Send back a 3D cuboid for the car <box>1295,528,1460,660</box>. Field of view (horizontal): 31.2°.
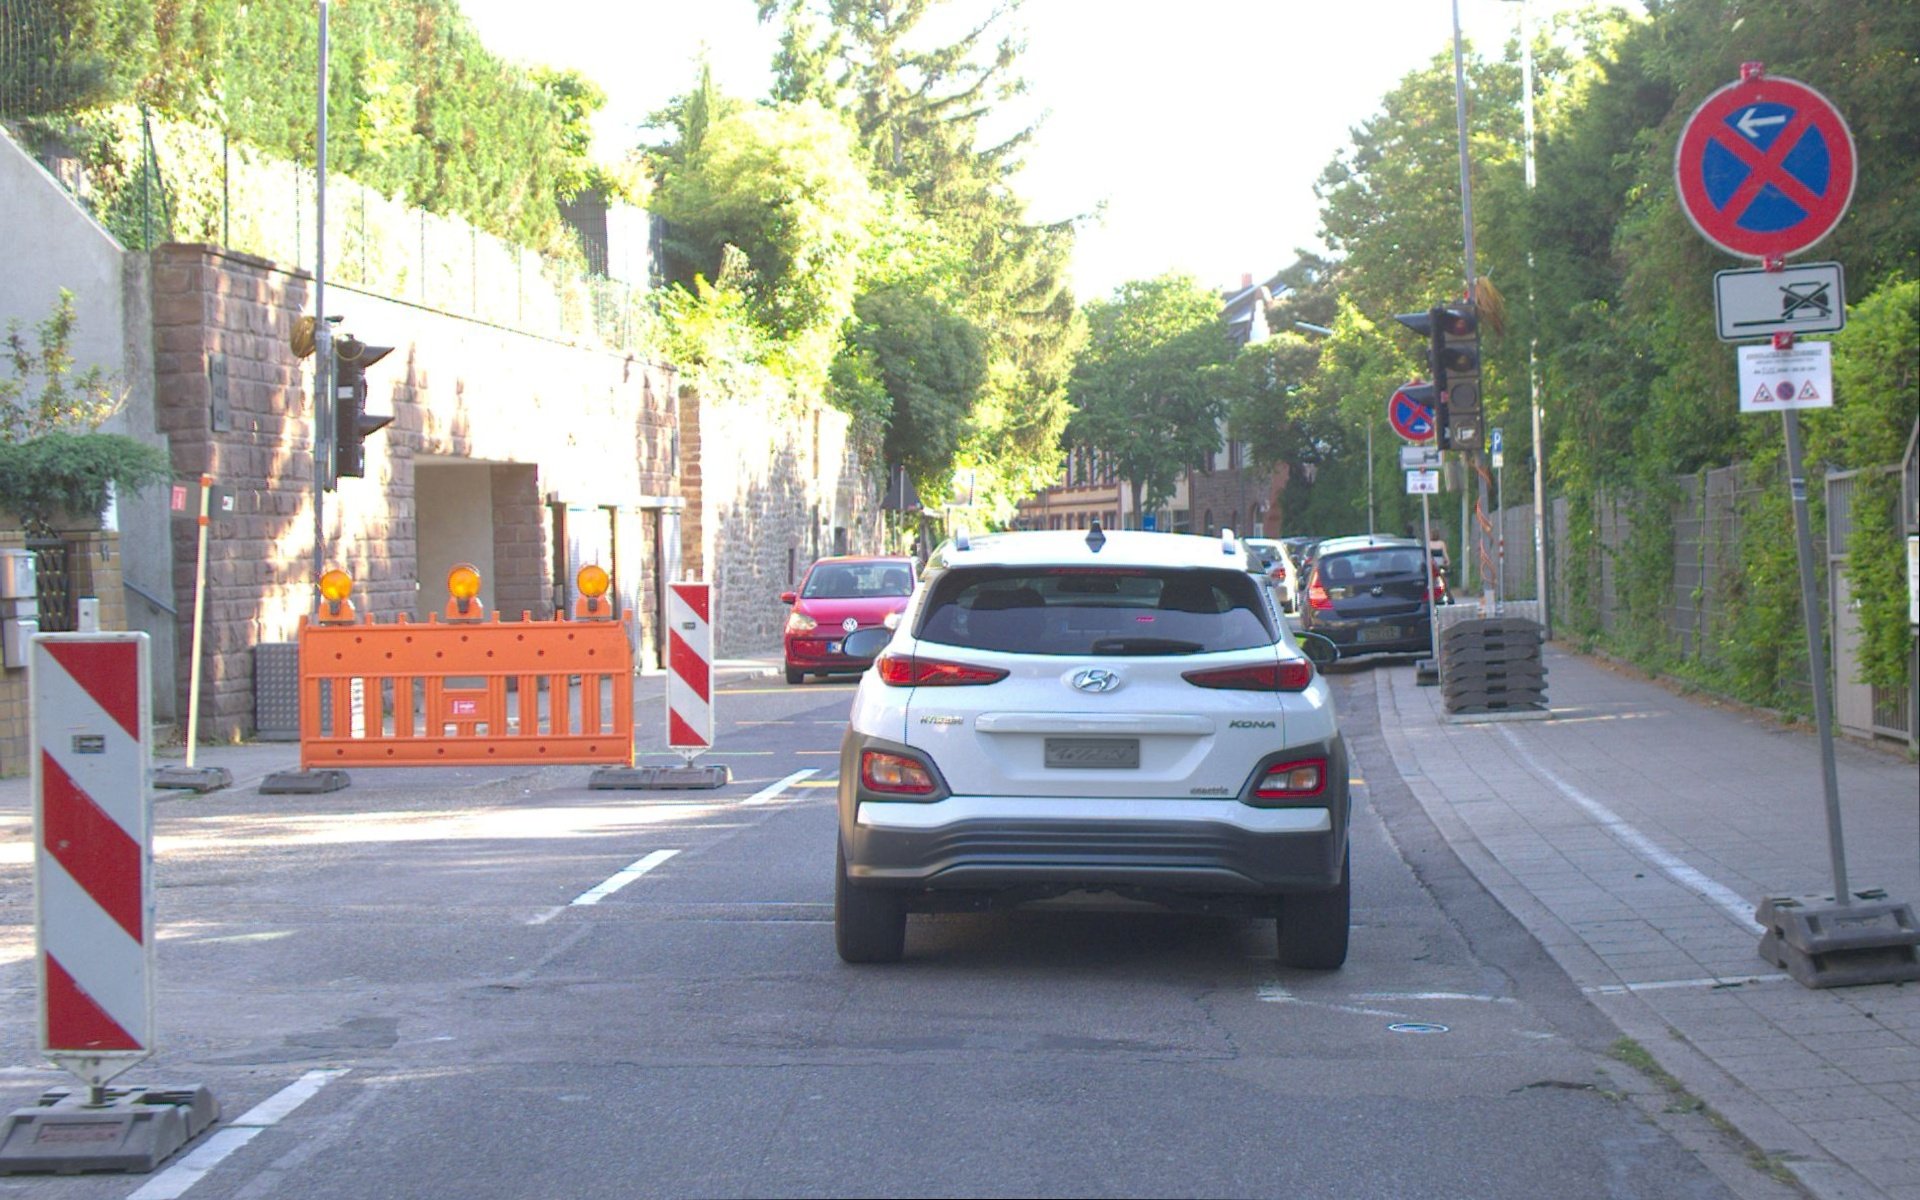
[{"bbox_3d":[4.889,-0.095,40.479,1.794,1.436,3.999,-1,1,6],"label":"car"}]

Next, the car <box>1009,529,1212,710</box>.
[{"bbox_3d":[1.424,0.138,31.409,1.512,1.528,3.547,-1,1,8],"label":"car"}]

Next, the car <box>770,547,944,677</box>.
[{"bbox_3d":[-1.169,0.112,40.445,1.627,1.417,3.562,-2,0,5],"label":"car"}]

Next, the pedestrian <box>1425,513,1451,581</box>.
[{"bbox_3d":[11.242,-1.253,80.855,0.503,1.564,0.503,-3,0,7],"label":"pedestrian"}]

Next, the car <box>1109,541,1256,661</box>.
[{"bbox_3d":[2.892,-0.012,44.178,1.571,1.472,3.546,0,1,9],"label":"car"}]

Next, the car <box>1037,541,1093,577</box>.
[{"bbox_3d":[4.769,-1.885,156.536,1.755,1.611,4.001,0,1,-11],"label":"car"}]

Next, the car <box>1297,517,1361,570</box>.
[{"bbox_3d":[11.268,-1.723,105.115,1.593,1.484,3.602,-4,1,2],"label":"car"}]

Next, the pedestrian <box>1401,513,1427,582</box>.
[{"bbox_3d":[10.682,-1.239,80.923,0.503,1.601,0.491,-3,0,7],"label":"pedestrian"}]

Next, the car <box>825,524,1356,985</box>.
[{"bbox_3d":[0.490,0.483,13.479,1.772,1.537,4.000,0,1,2],"label":"car"}]

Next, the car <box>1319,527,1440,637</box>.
[{"bbox_3d":[6.222,-0.273,50.805,1.653,1.559,2.871,-1,1,9],"label":"car"}]

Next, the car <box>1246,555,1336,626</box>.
[{"bbox_3d":[7.159,-0.227,74.176,1.694,1.442,3.880,2,1,8],"label":"car"}]

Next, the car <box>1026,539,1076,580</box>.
[{"bbox_3d":[3.664,-1.626,138.999,1.741,1.469,4.000,-4,0,-1],"label":"car"}]

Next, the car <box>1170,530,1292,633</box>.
[{"bbox_3d":[4.523,-0.319,56.925,1.694,1.528,3.880,-4,0,8],"label":"car"}]

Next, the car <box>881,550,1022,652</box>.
[{"bbox_3d":[-0.094,-0.014,50.988,1.649,1.406,3.930,-2,1,6],"label":"car"}]
